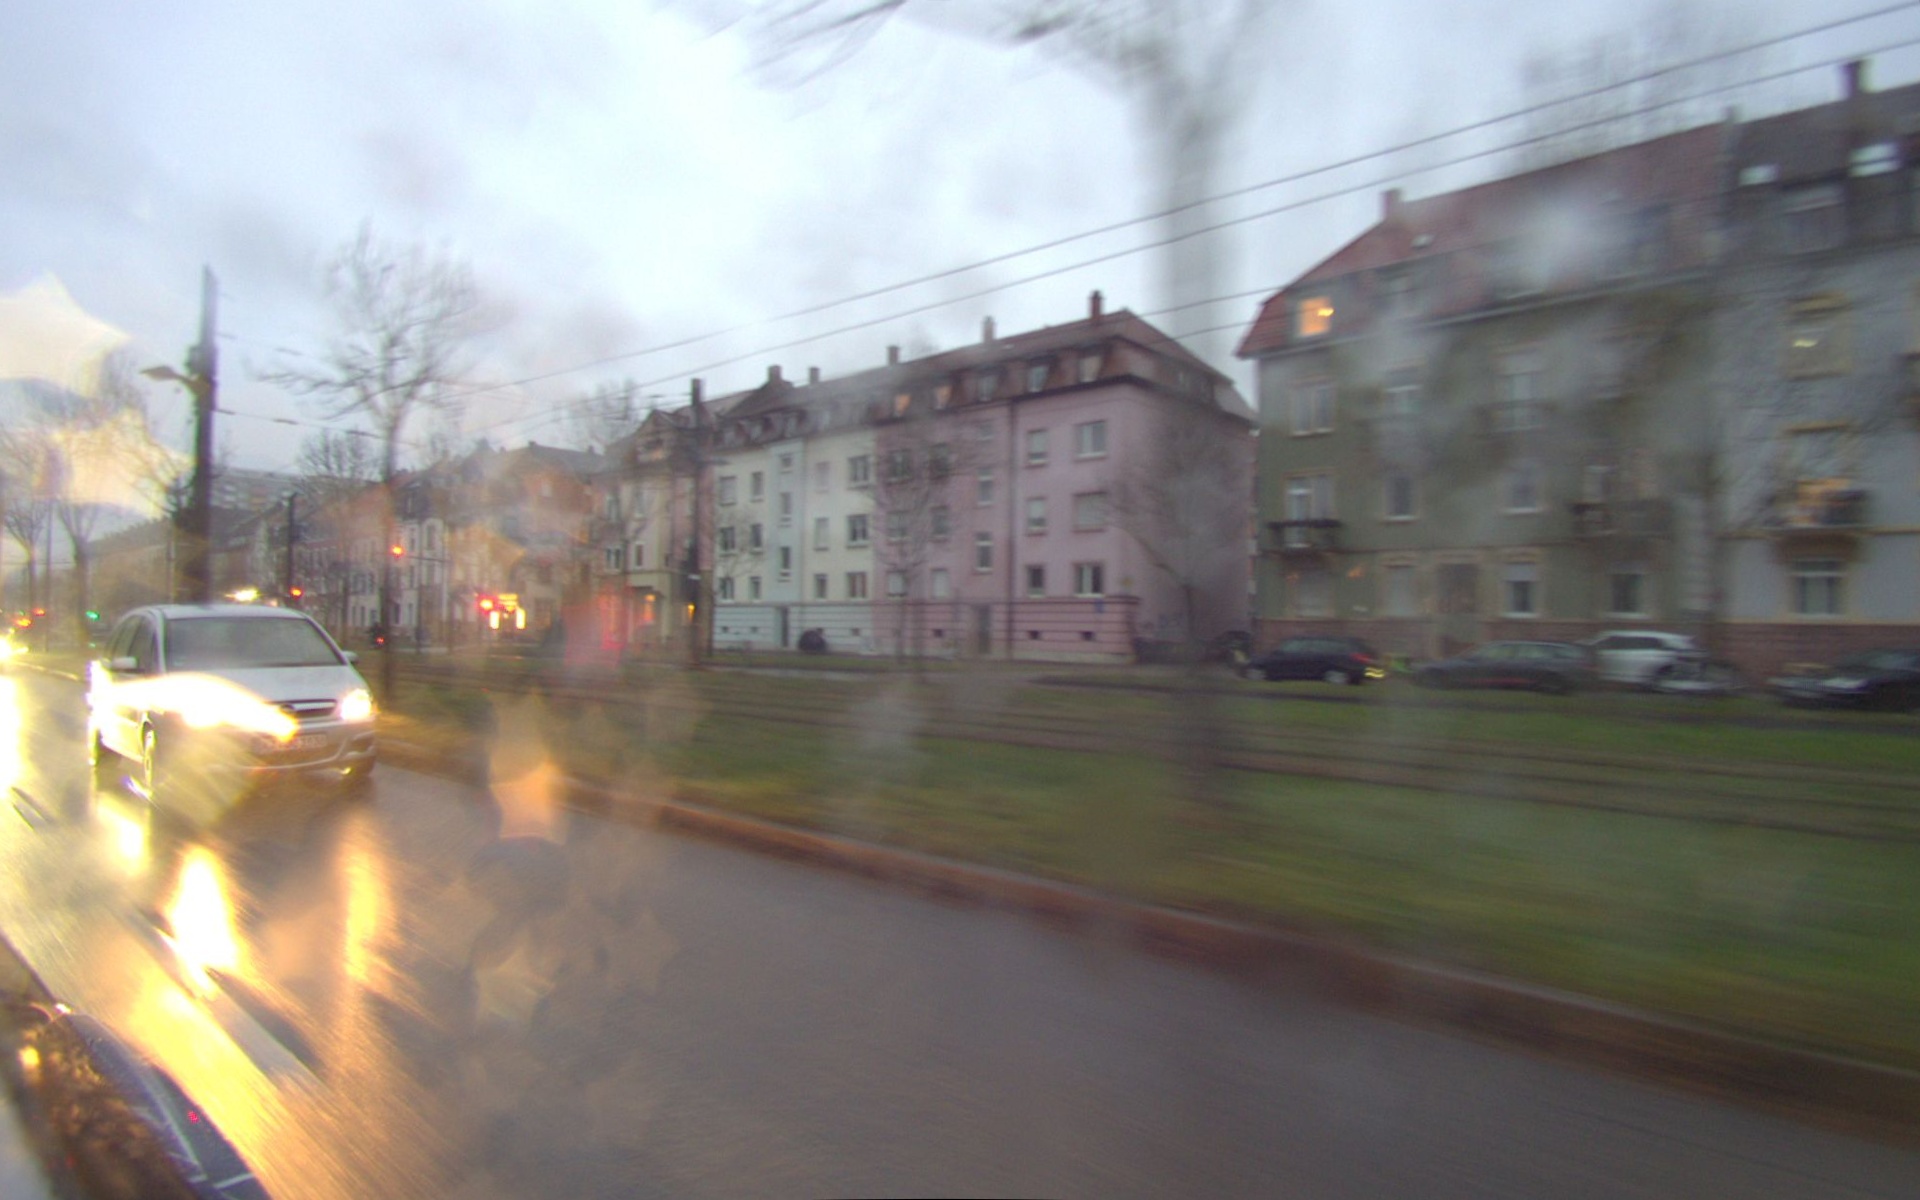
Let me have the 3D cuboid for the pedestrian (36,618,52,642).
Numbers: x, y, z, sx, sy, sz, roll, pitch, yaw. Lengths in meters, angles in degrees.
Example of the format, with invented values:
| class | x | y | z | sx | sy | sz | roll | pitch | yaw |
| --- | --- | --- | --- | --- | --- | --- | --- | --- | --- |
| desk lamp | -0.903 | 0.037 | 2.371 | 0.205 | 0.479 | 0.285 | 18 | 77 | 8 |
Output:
| class | x | y | z | sx | sy | sz | roll | pitch | yaw |
| --- | --- | --- | --- | --- | --- | --- | --- | --- | --- |
| pedestrian | -45.661 | 1.508 | 50.428 | 0.582 | 1.165 | 0.555 | -1 | -1 | 44 |

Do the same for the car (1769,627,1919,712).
| class | x | y | z | sx | sy | sz | roll | pitch | yaw |
| --- | --- | --- | --- | --- | --- | --- | --- | --- | --- |
| car | 18.527 | 1.321 | 19.952 | 3.888 | 1.459 | 1.823 | -1 | 0 | -8 |

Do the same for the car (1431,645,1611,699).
| class | x | y | z | sx | sy | sz | roll | pitch | yaw |
| --- | --- | --- | --- | --- | --- | --- | --- | --- | --- |
| car | 14.272 | 1.792 | 25.849 | 3.894 | 1.177 | 1.218 | -1 | 0 | 38 |

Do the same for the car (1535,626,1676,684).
| class | x | y | z | sx | sy | sz | roll | pitch | yaw |
| --- | --- | --- | --- | --- | --- | --- | --- | --- | --- |
| car | 18.867 | 1.554 | 29.646 | 3.268 | 1.541 | 1.593 | -1 | 0 | 42 |

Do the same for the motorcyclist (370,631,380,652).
| class | x | y | z | sx | sy | sz | roll | pitch | yaw |
| --- | --- | --- | --- | --- | --- | --- | --- | --- | --- |
| motorcyclist | -31.166 | 2.209 | 53.882 | 0.410 | 1.069 | 0.346 | 0 | -1 | -42 |

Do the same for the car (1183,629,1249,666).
| class | x | y | z | sx | sy | sz | roll | pitch | yaw |
| --- | --- | --- | --- | --- | --- | --- | --- | --- | --- |
| car | 12.004 | 2.182 | 47.420 | 1.611 | 1.555 | 3.317 | -1 | 0 | 43 |

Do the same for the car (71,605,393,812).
| class | x | y | z | sx | sy | sz | roll | pitch | yaw |
| --- | --- | --- | --- | --- | --- | --- | --- | --- | --- |
| car | -6.914 | 0.833 | 9.462 | 3.906 | 1.531 | 1.617 | -1 | 0 | 41 |

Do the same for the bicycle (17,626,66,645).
| class | x | y | z | sx | sy | sz | roll | pitch | yaw |
| --- | --- | --- | --- | --- | --- | --- | --- | --- | --- |
| bicycle | -45.716 | 1.778 | 50.390 | 0.733 | 0.905 | 1.703 | 0 | -4 | 41 |

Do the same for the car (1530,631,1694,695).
| class | x | y | z | sx | sy | sz | roll | pitch | yaw |
| --- | --- | --- | --- | --- | --- | --- | --- | --- | --- |
| car | 17.630 | 1.652 | 27.449 | 3.537 | 1.563 | 1.662 | -1 | 0 | 42 |

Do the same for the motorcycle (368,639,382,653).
| class | x | y | z | sx | sy | sz | roll | pitch | yaw |
| --- | --- | --- | --- | --- | --- | --- | --- | --- | --- |
| motorcycle | -31.084 | 2.424 | 53.792 | 0.416 | 0.688 | 1.177 | 0 | -1 | -42 |

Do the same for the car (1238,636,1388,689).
| class | x | y | z | sx | sy | sz | roll | pitch | yaw |
| --- | --- | --- | --- | --- | --- | --- | --- | --- | --- |
| car | 10.282 | 1.781 | 29.657 | 3.911 | 1.350 | 1.449 | -1 | 0 | 44 |
